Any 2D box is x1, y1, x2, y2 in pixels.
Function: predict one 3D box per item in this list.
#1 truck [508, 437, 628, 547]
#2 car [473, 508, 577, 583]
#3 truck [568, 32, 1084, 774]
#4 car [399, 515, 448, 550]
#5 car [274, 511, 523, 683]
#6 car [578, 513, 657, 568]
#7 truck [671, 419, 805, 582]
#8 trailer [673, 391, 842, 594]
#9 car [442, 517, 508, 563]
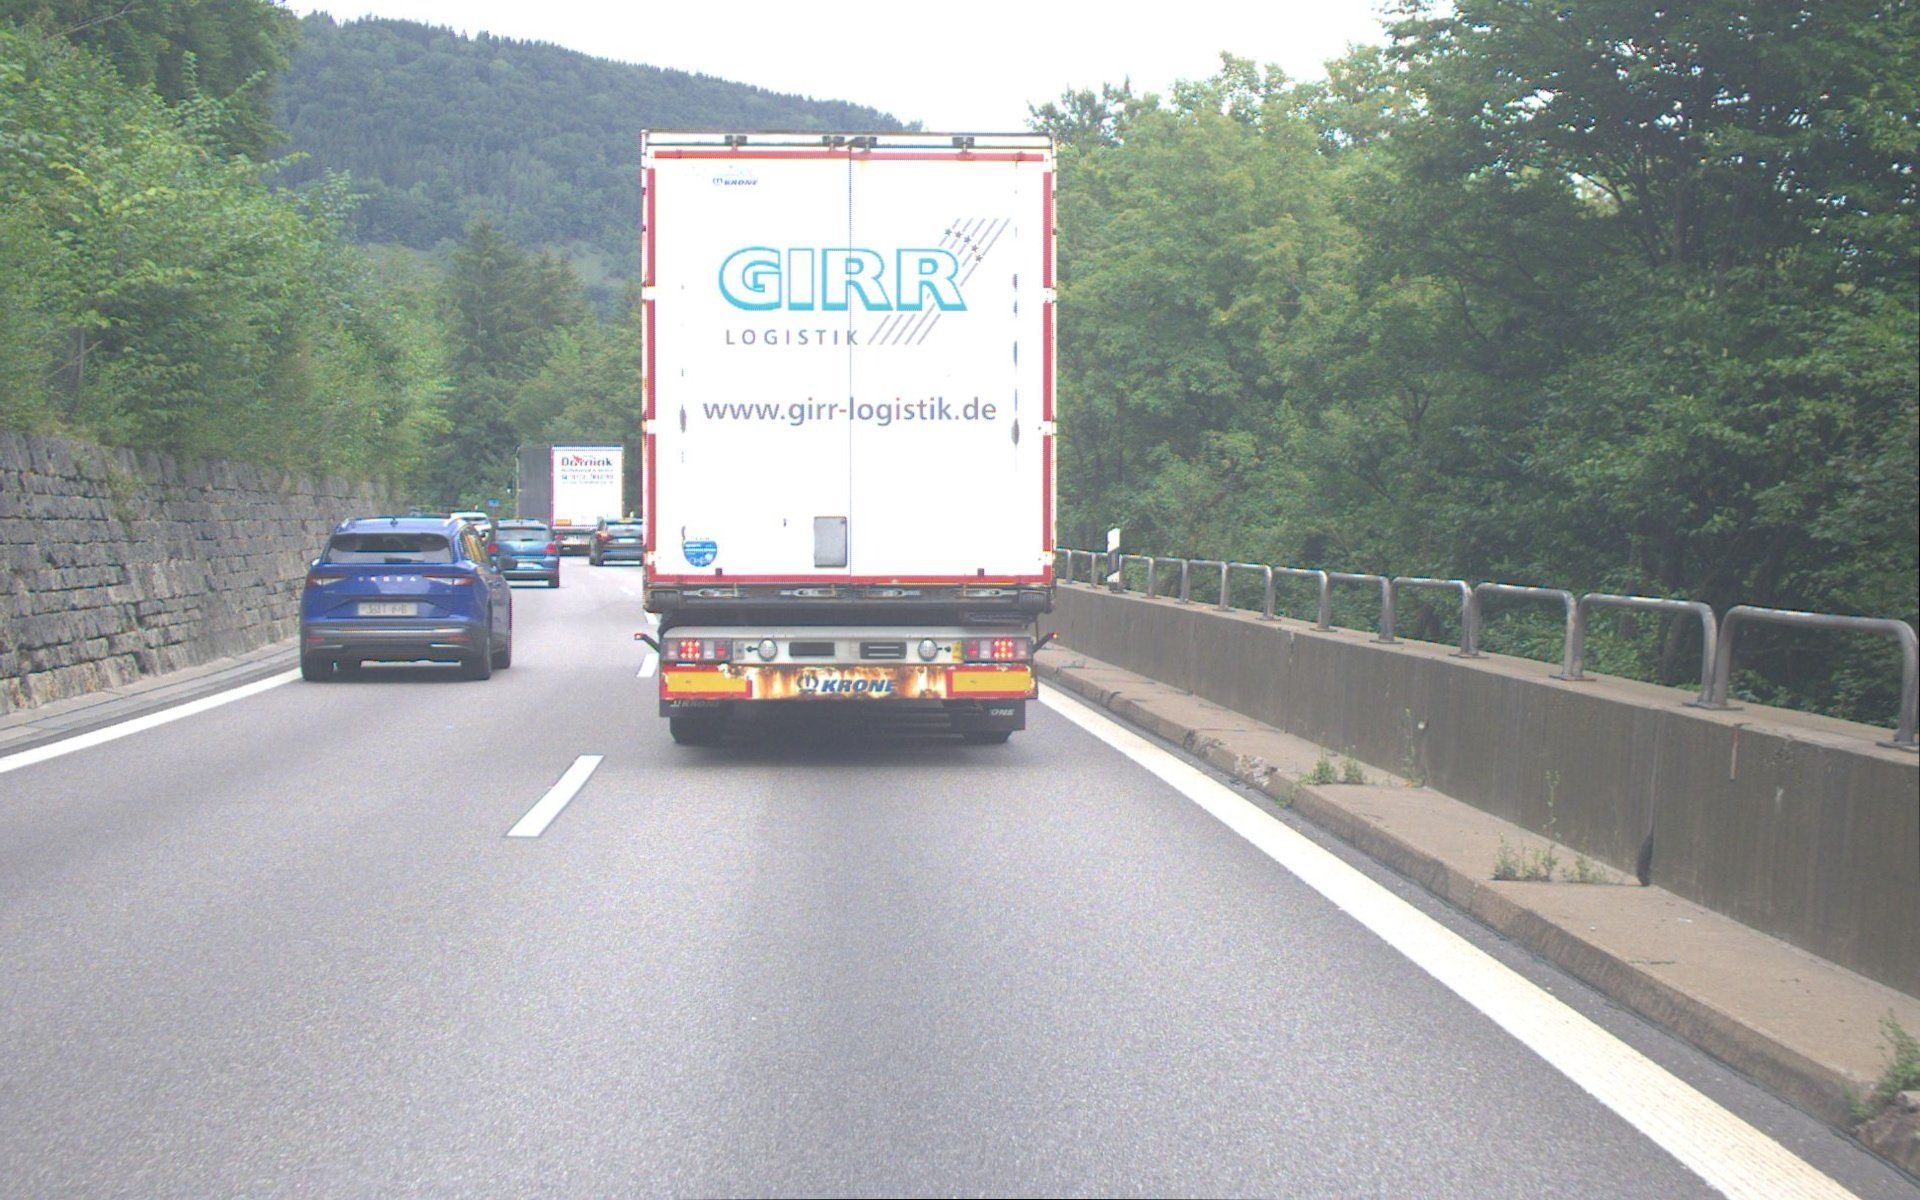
[{"bbox_3d":[-14.529,-3.924,126.545,2.633,3.844,12.363,-1,1,-15],"label":"truck"},{"bbox_3d":[-9.708,-1.224,76.423,1.993,1.590,4.355,0,1,-11],"label":"car"},{"bbox_3d":[-1.175,-1.359,28.290,3.084,4.448,15.158,0,1,-3],"label":"truck"},{"bbox_3d":[-25.155,-3.175,161.084,1.896,1.545,4.251,1,1,-14],"label":"car"},{"bbox_3d":[-5.641,-0.080,35.099,1.993,1.626,5.009,0,1,-3],"label":"car"},{"bbox_3d":[-10.450,-1.816,104.737,2.060,1.648,4.001,0,1,-10],"label":"car"},{"bbox_3d":[-4.140,-1.810,63.341,2.208,2.841,5.005,1,1,-6],"label":"truck"},{"bbox_3d":[-3.531,-1.737,57.566,2.211,3.037,11.141,1,1,-6],"label":"trailer"},{"bbox_3d":[-17.128,-2.123,121.269,1.896,1.545,4.251,1,1,-13],"label":"car"}]
